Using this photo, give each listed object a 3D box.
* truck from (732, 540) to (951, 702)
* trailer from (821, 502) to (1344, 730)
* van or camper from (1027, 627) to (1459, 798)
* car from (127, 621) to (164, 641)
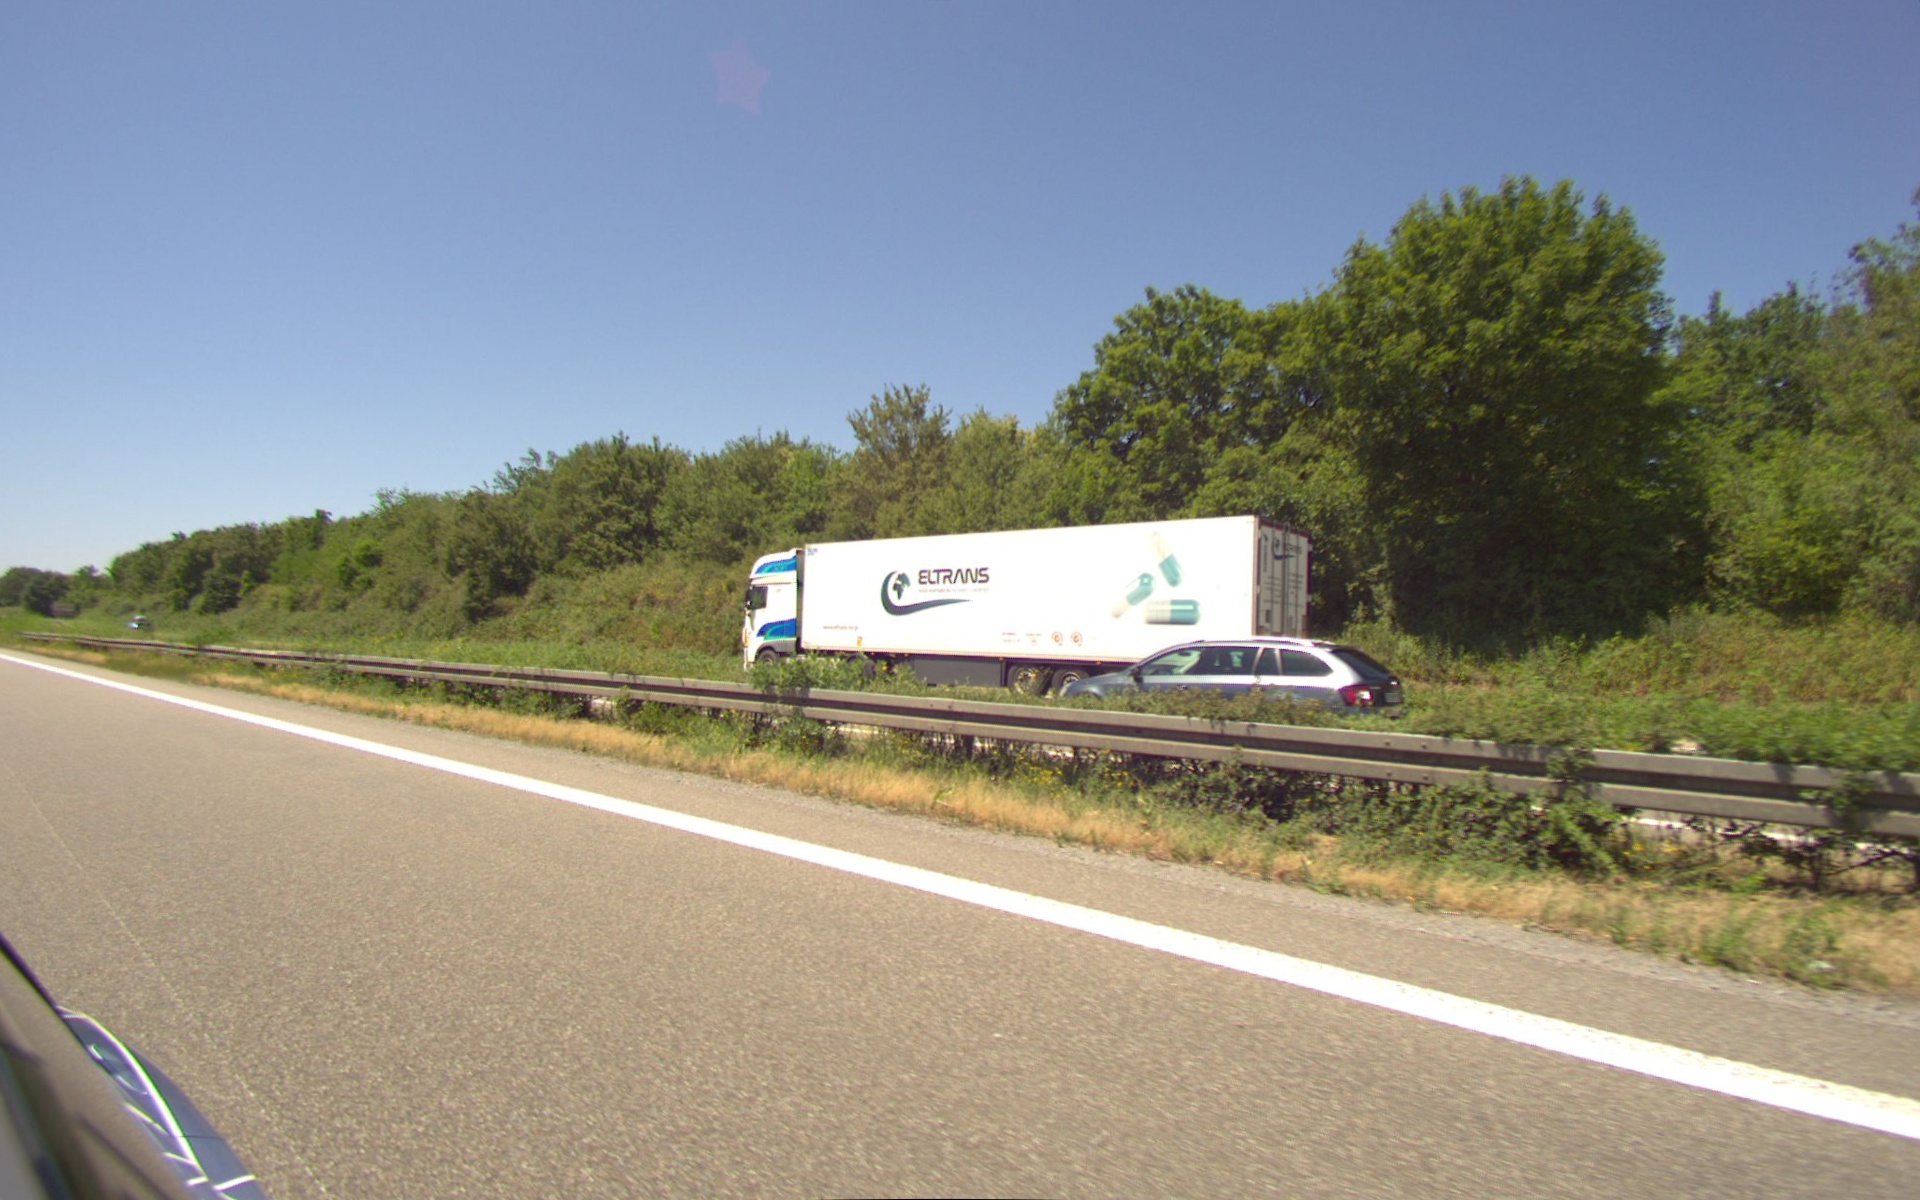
[{"bbox_3d":[-3.516,0.562,29.290,5.942,4.180,3.160,-1,0,42],"label":"truck"},{"bbox_3d":[2.112,0.345,24.259,12.983,4.222,3.142,-1,0,42],"label":"trailer"},{"bbox_3d":[3.451,1.249,13.101,5.057,1.764,1.972,-1,-2,43],"label":"van or camper"},{"bbox_3d":[-77.032,2.913,95.660,4.301,1.929,1.973,-1,-2,41],"label":"car"}]
